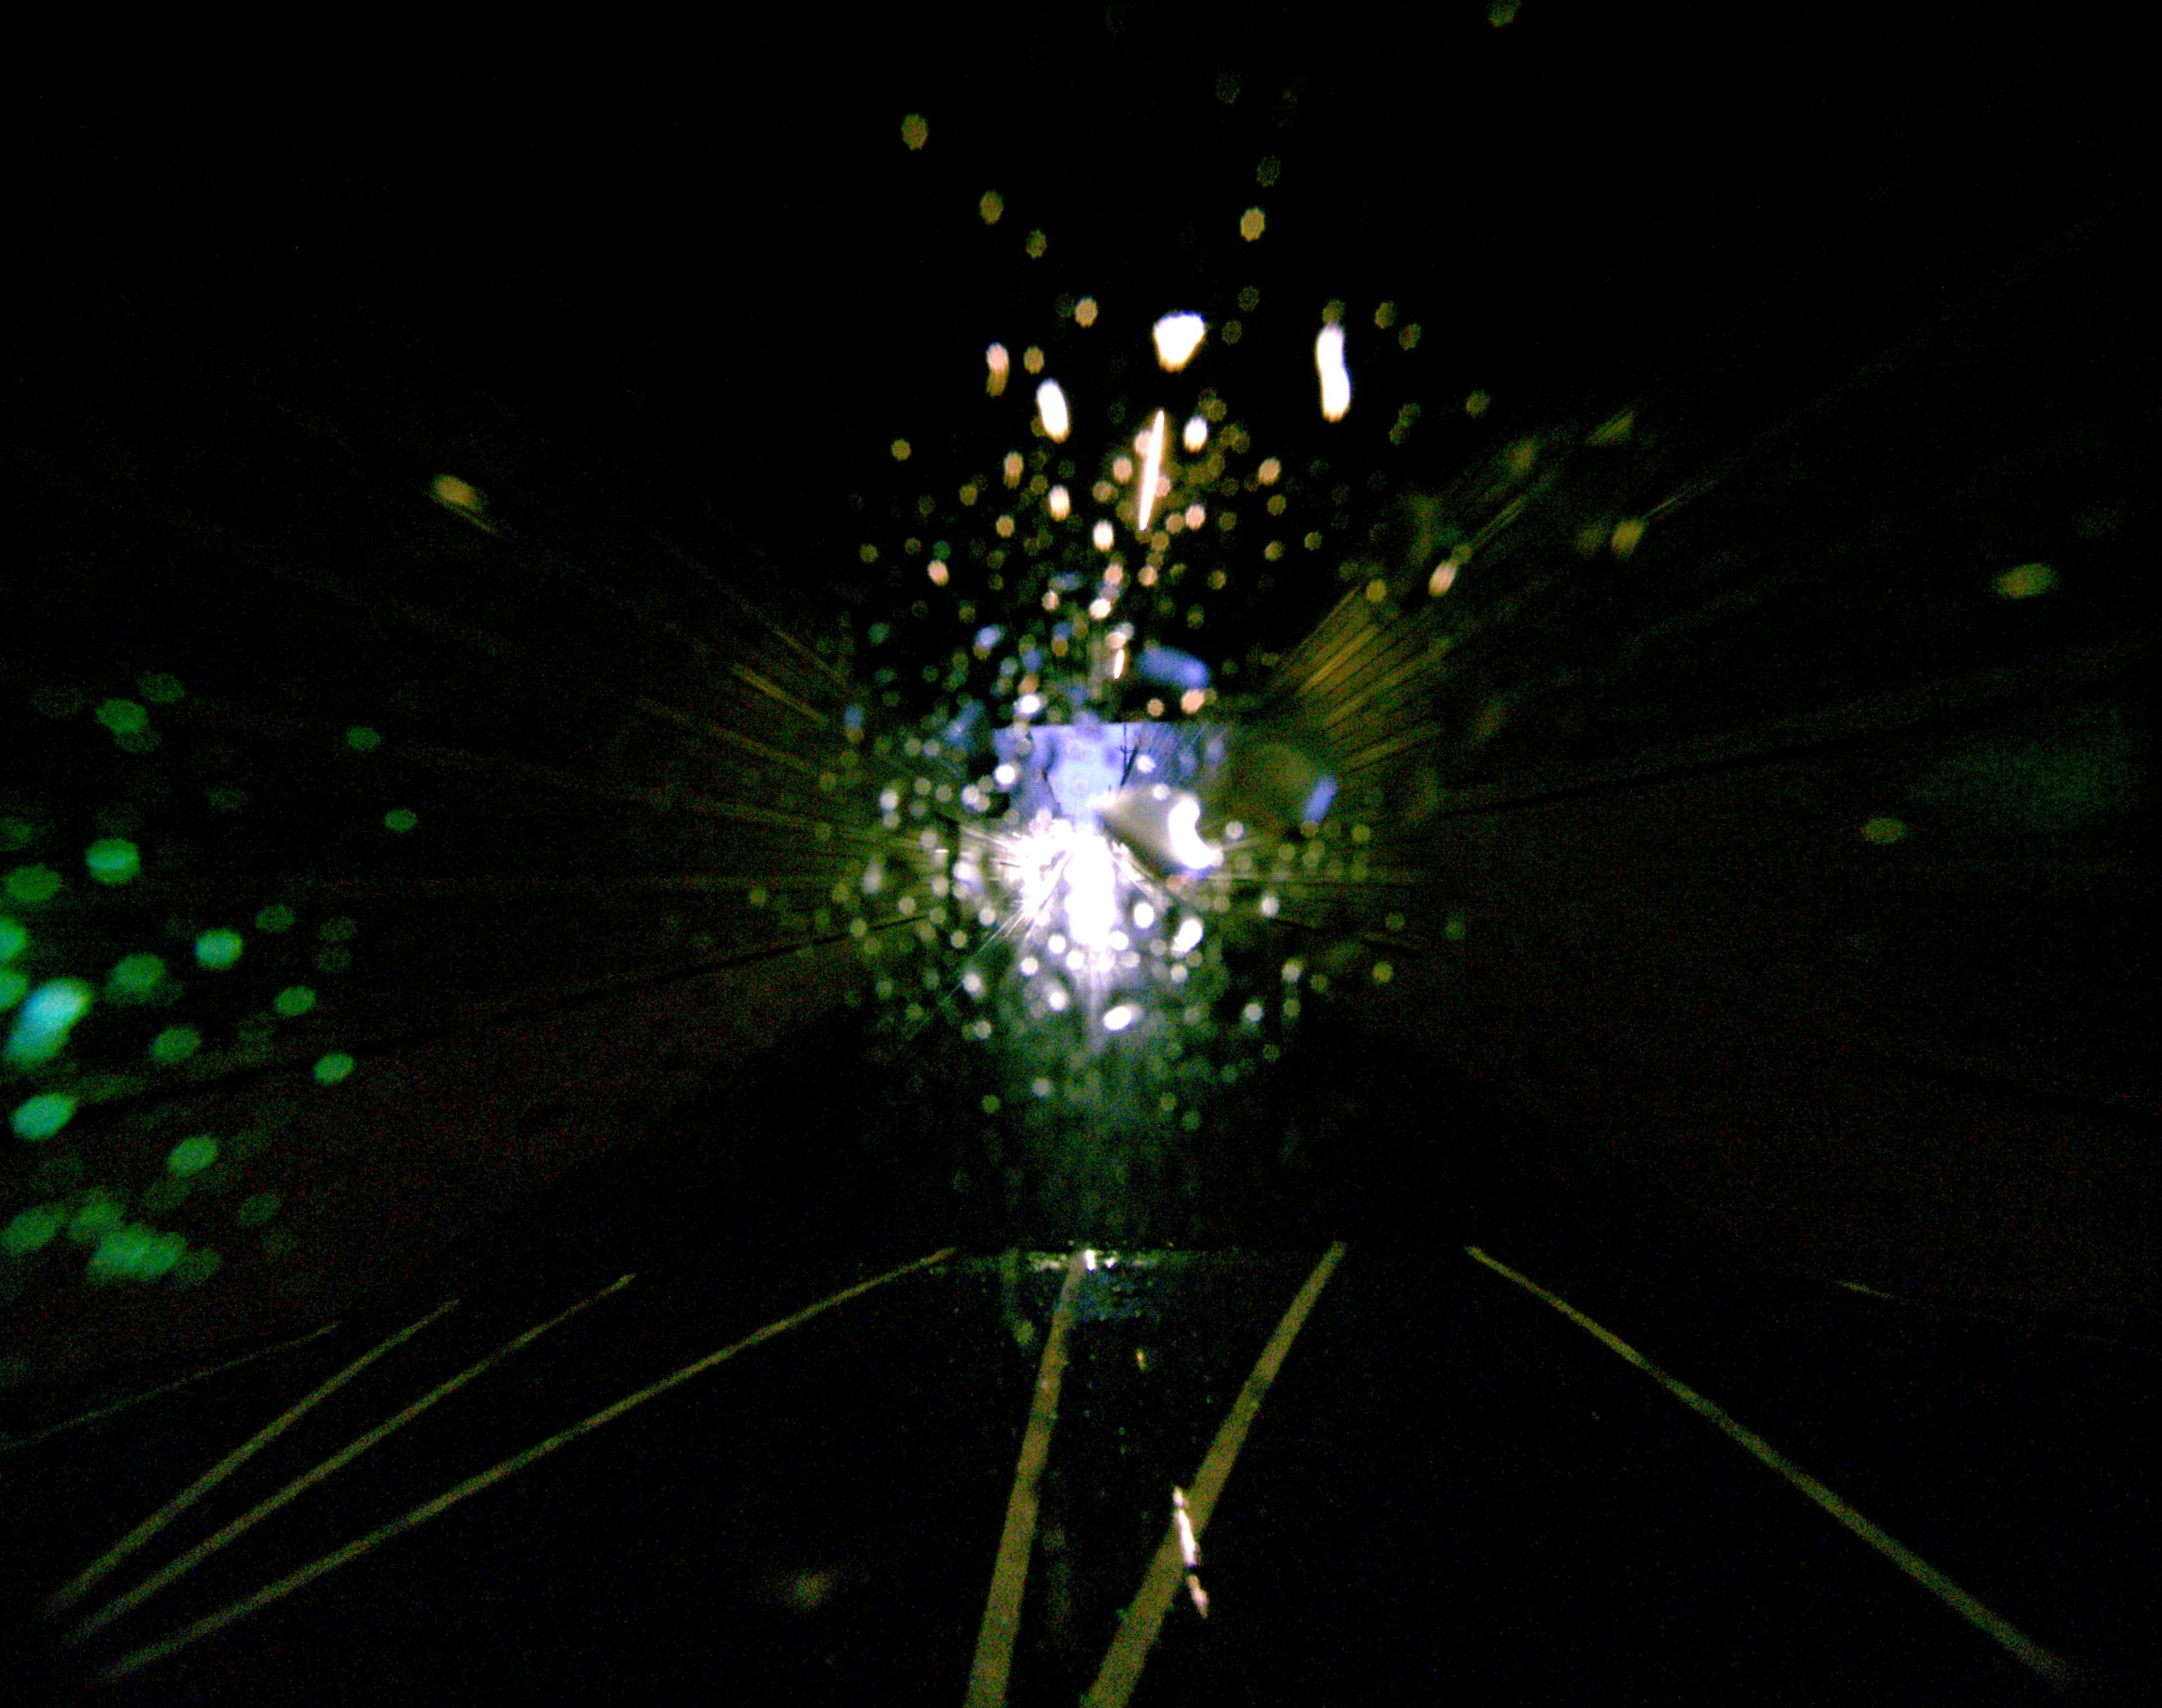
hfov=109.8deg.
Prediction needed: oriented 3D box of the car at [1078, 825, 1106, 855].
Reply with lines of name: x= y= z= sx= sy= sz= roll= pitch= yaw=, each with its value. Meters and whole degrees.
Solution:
car: x=0.838 y=-1.033 z=58.527 sx=2.030 sy=2.016 sz=4.426 roll=-2 pitch=-2 yaw=1
